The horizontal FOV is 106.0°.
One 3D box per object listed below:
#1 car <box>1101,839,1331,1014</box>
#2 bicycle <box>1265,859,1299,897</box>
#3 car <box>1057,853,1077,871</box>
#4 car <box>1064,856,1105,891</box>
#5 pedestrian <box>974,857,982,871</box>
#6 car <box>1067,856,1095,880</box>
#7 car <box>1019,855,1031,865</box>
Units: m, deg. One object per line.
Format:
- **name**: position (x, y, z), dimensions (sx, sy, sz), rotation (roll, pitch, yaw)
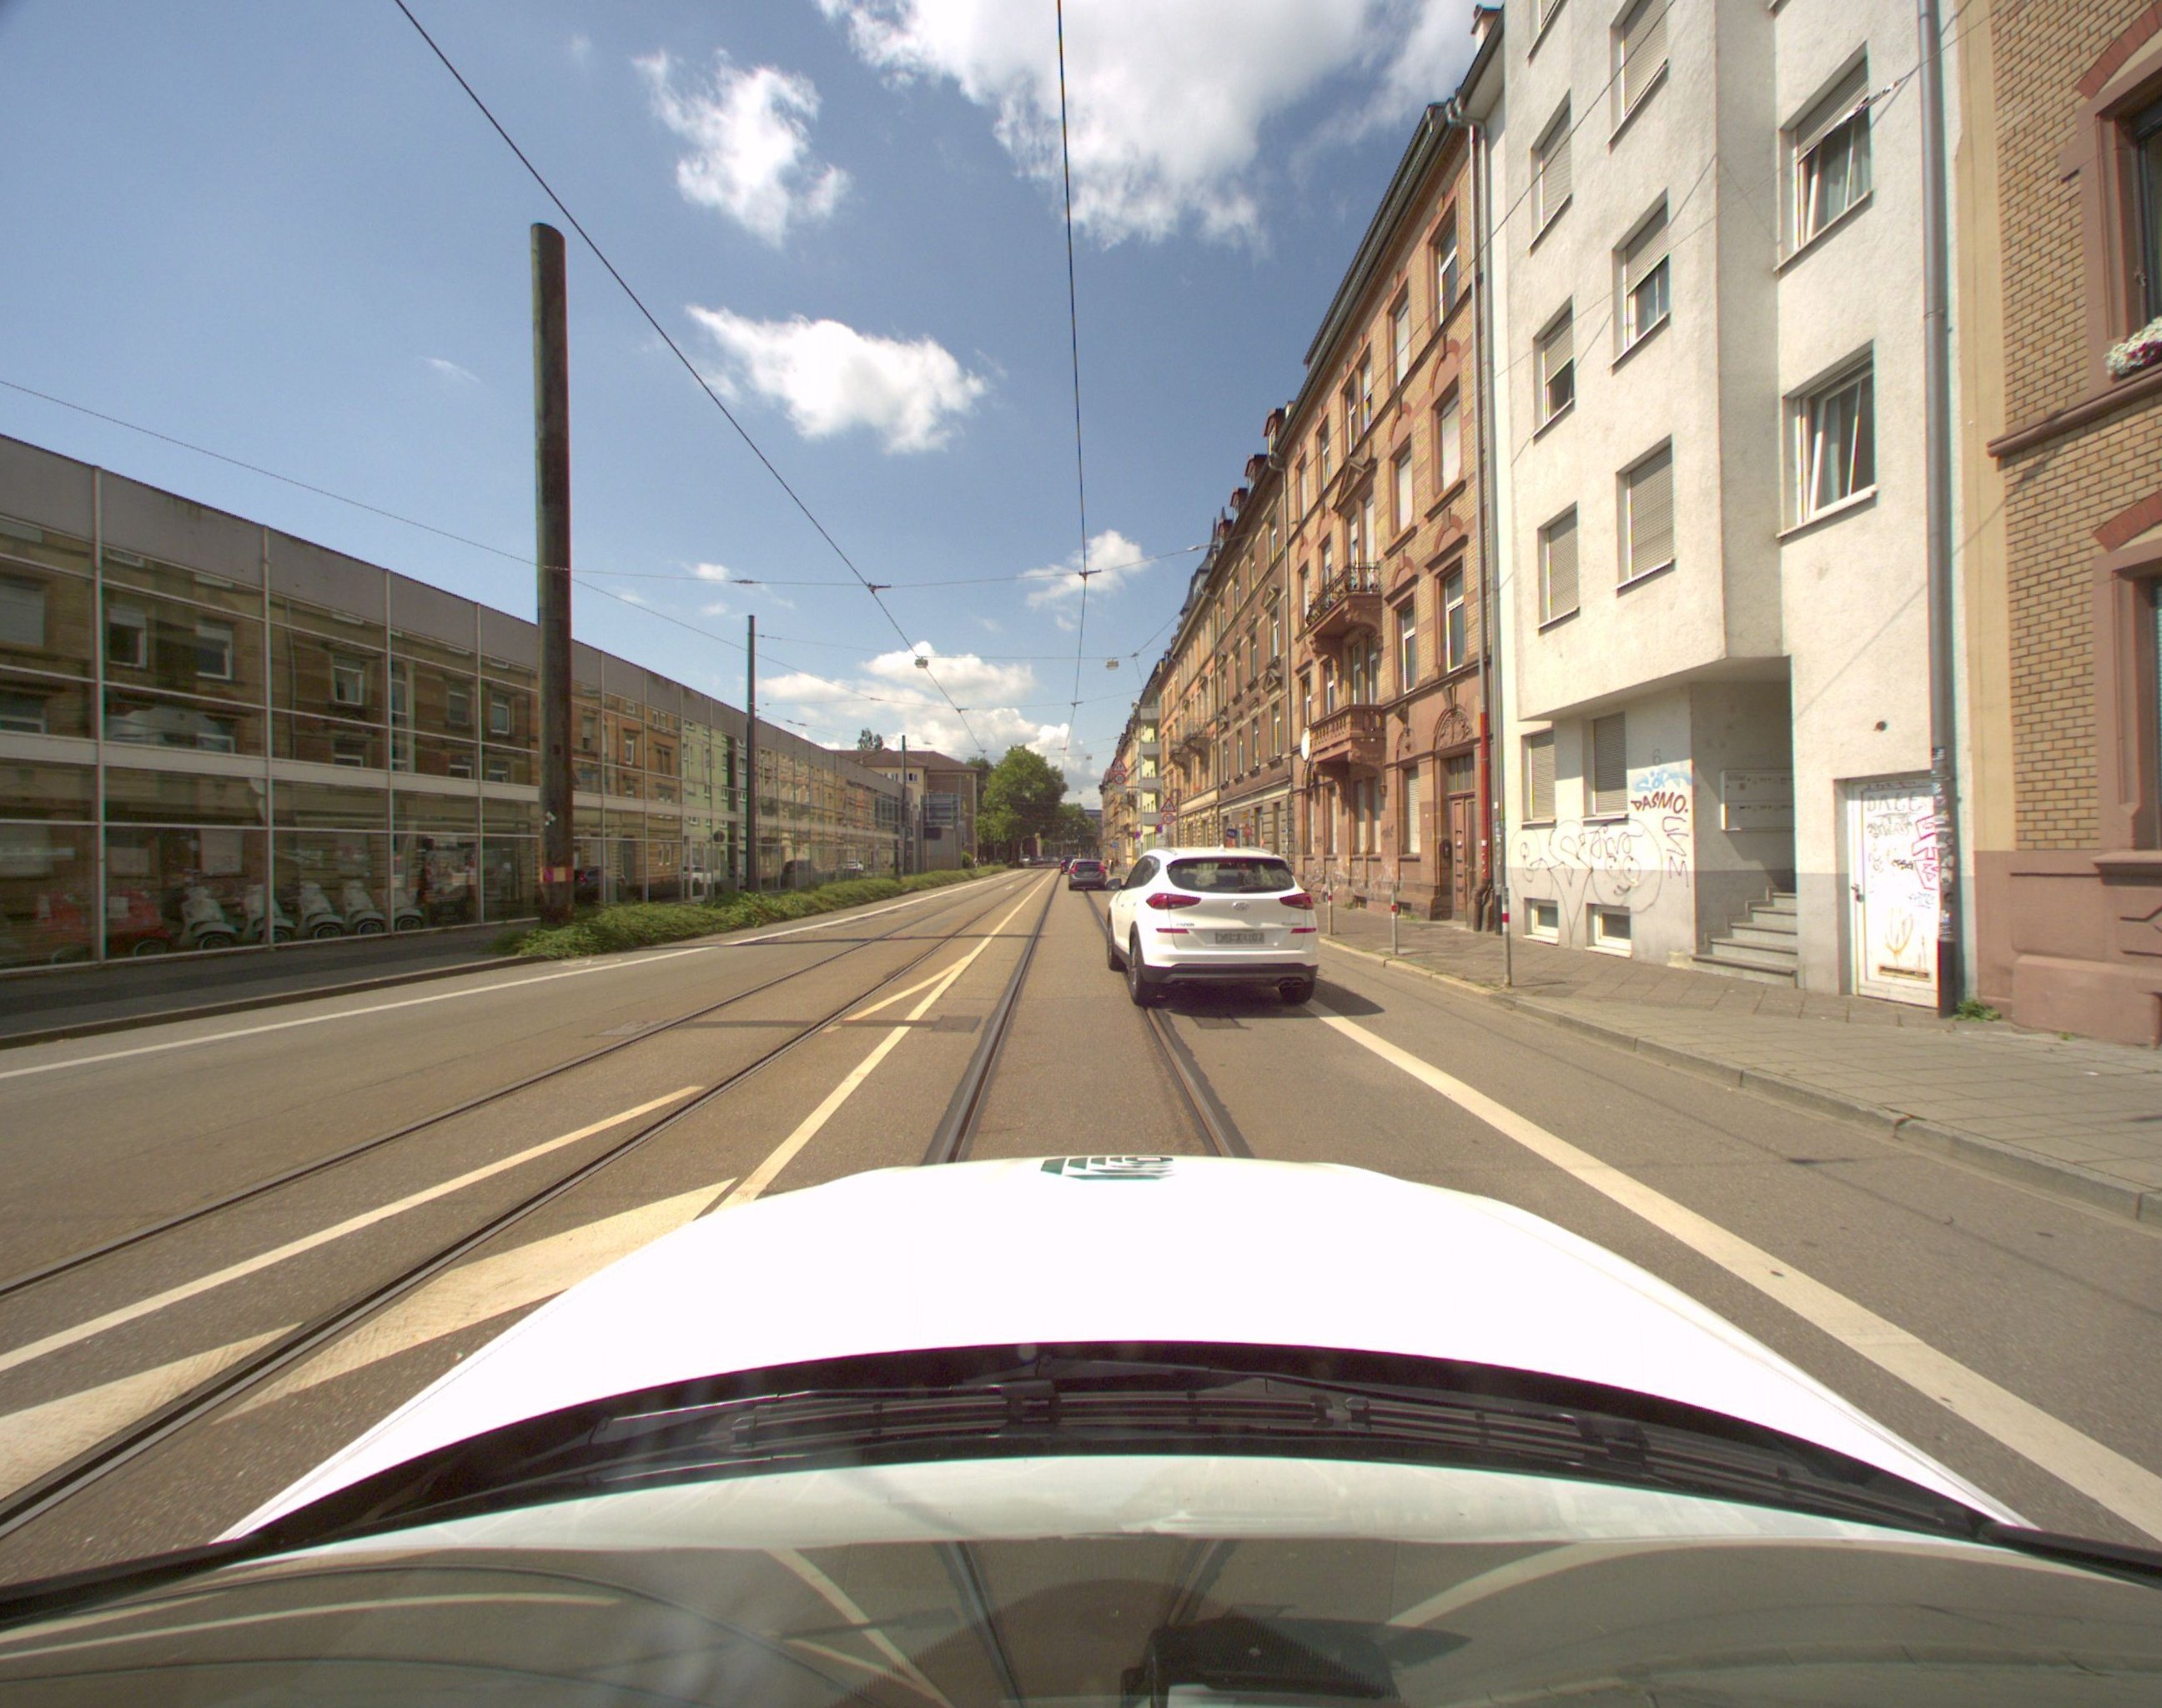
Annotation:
- **car**: position (1.329, 0.688, 9.731), dimensions (1.848, 1.634, 4.175), rotation (0, 0, -3)
- **bicycle**: position (6.681, 0.785, 27.164), dimensions (0.584, 1.178, 2.204), rotation (-2, 0, 0)
- **car**: position (-1.283, 0.737, 75.625), dimensions (1.809, 1.662, 4.083), rotation (-1, 0, -1)
- **car**: position (0.236, 0.892, 39.309), dimensions (1.807, 1.524, 4.087), rotation (-1, 0, 2)
- **pedestrian**: position (-13.685, 1.332, 108.082), dimensions (0.877, 1.865, 1.080), rotation (-2, 0, -1)
- **car**: position (-0.044, 0.951, 56.027), dimensions (1.809, 1.524, 3.953), rotation (-1, 0, -1)
- **car**: position (-10.335, 1.071, 151.327), dimensions (1.944, 1.895, 4.563), rotation (0, 0, -1)
